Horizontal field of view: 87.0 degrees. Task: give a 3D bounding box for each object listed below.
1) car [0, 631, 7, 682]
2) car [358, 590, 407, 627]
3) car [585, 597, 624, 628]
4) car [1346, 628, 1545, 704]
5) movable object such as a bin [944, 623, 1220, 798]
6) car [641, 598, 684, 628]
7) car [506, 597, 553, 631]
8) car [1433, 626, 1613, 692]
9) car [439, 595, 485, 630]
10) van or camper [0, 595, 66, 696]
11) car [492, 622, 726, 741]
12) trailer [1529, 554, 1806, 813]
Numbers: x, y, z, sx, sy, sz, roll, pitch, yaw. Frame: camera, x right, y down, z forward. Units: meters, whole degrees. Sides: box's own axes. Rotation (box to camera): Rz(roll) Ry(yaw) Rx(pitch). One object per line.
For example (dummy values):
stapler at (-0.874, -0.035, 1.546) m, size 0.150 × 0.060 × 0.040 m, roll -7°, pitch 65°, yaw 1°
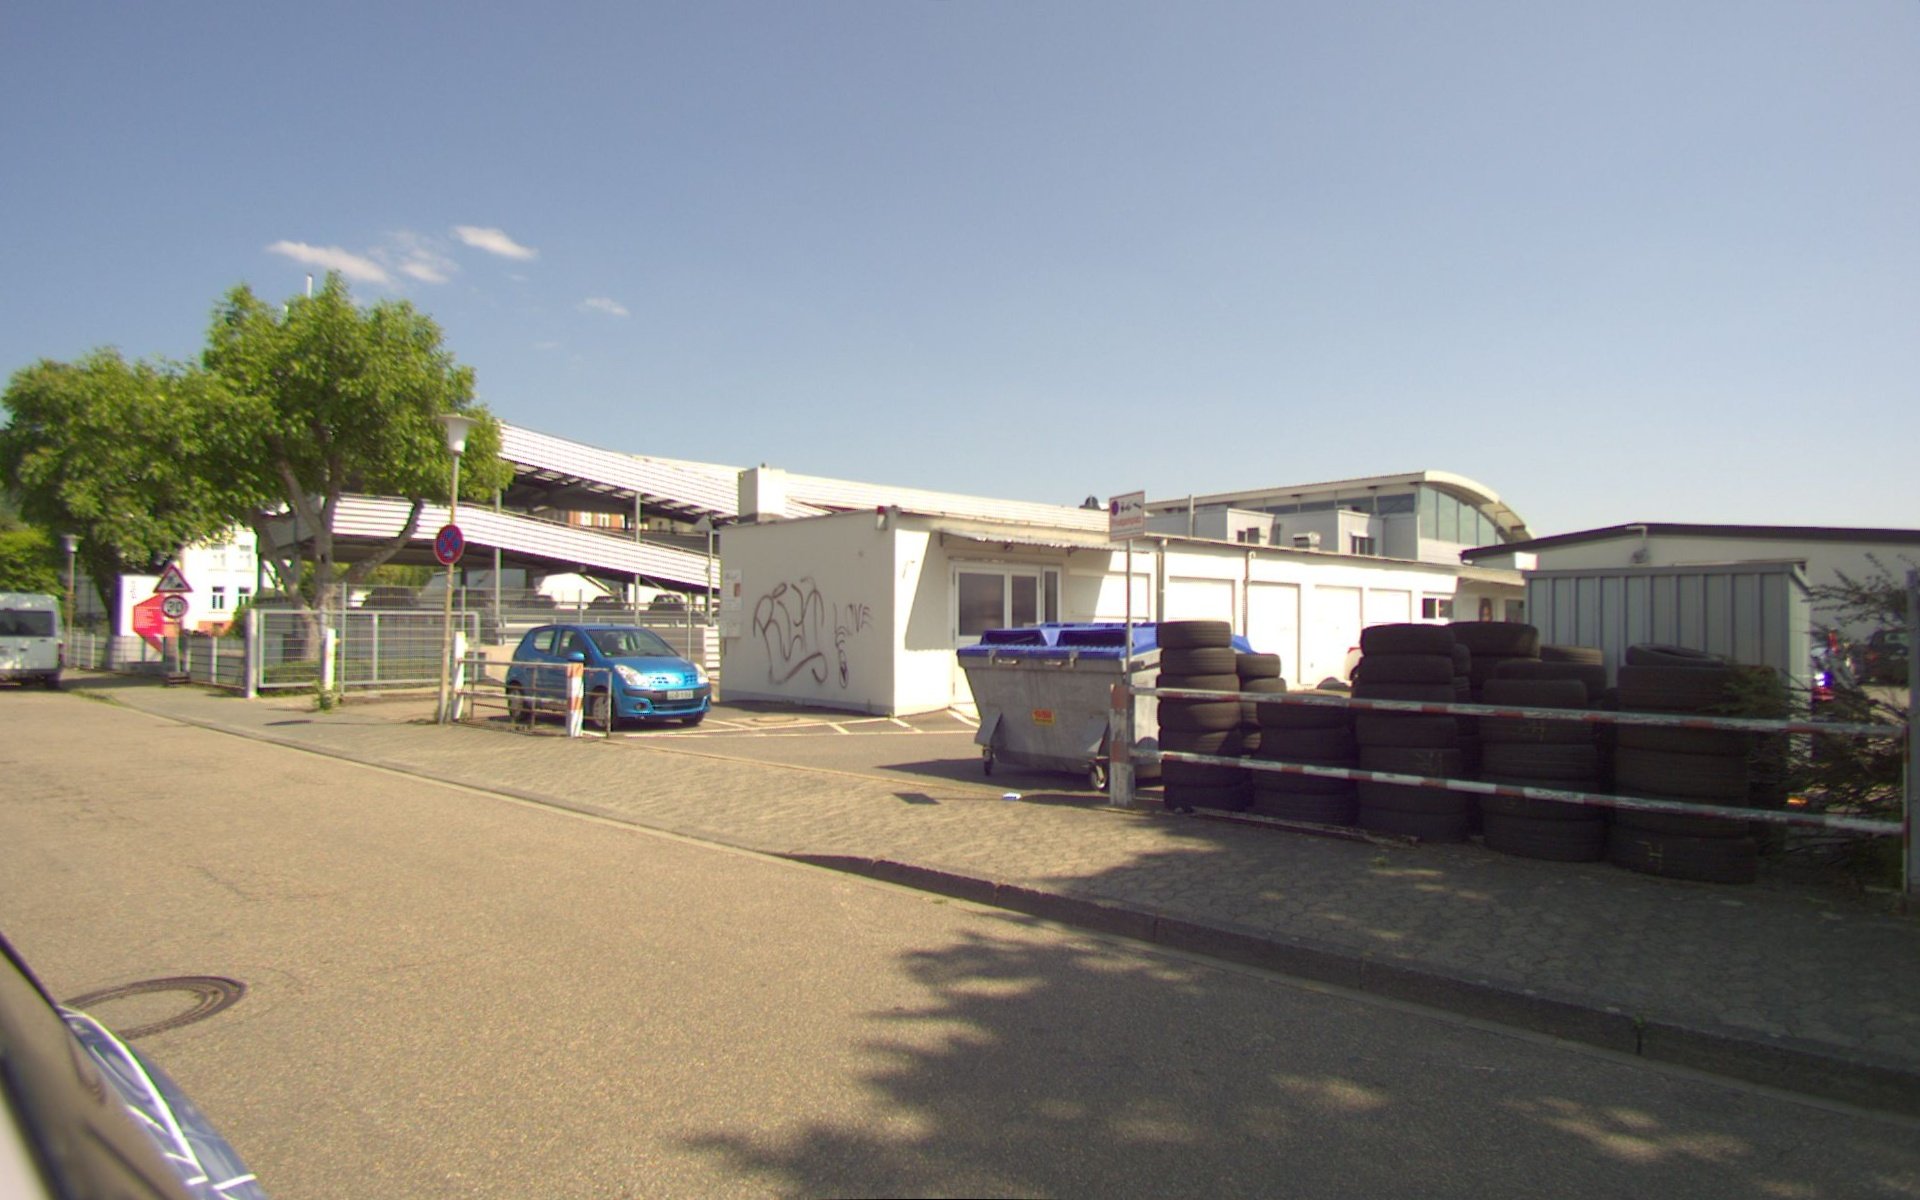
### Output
car at (-29.820, 1.674, 30.058) m, size 3.520 × 1.469 × 1.688 m, roll -1°, pitch 0°, yaw 38°
car at (-24.286, 0.349, 42.624) m, size 1.680 × 1.469 × 3.536 m, roll -1°, pitch 0°, yaw -28°
car at (-17.453, 0.588, 49.557) m, size 1.680 × 1.469 × 3.537 m, roll -1°, pitch 0°, yaw -21°
car at (10.673, 1.387, 22.422) m, size 1.682 × 1.433 × 3.588 m, roll -1°, pitch 0°, yaw -39°
movable object such as a bin at (1.081, 0.930, 9.271) m, size 1.364 × 1.368 × 2.105 m, roll 4°, pitch -4°, yaw -44°
car at (-15.134, 0.634, 51.403) m, size 1.680 × 1.469 × 3.537 m, roll -1°, pitch 0°, yaw -23°
car at (-19.885, 0.624, 46.690) m, size 1.680 × 1.469 × 3.536 m, roll -1°, pitch 0°, yaw -28°
car at (14.025, 1.424, 25.351) m, size 1.682 × 1.433 × 3.588 m, roll -1°, pitch 0°, yaw -39°
car at (-22.066, 0.530, 44.762) m, size 1.680 × 1.469 × 3.536 m, roll -1°, pitch 0°, yaw -28°
van or camper at (-24.469, 1.111, 25.600) m, size 4.682 × 2.395 × 2.003 m, roll -1°, pitch -3°, yaw 40°
car at (-5.174, 1.085, 14.767) m, size 3.521 × 1.469 × 1.624 m, roll -1°, pitch 0°, yaw 39°
trailer at (7.812, 0.687, 10.954) m, size 1.999 × 2.171 × 4.721 m, roll -1°, pitch 0°, yaw 41°
